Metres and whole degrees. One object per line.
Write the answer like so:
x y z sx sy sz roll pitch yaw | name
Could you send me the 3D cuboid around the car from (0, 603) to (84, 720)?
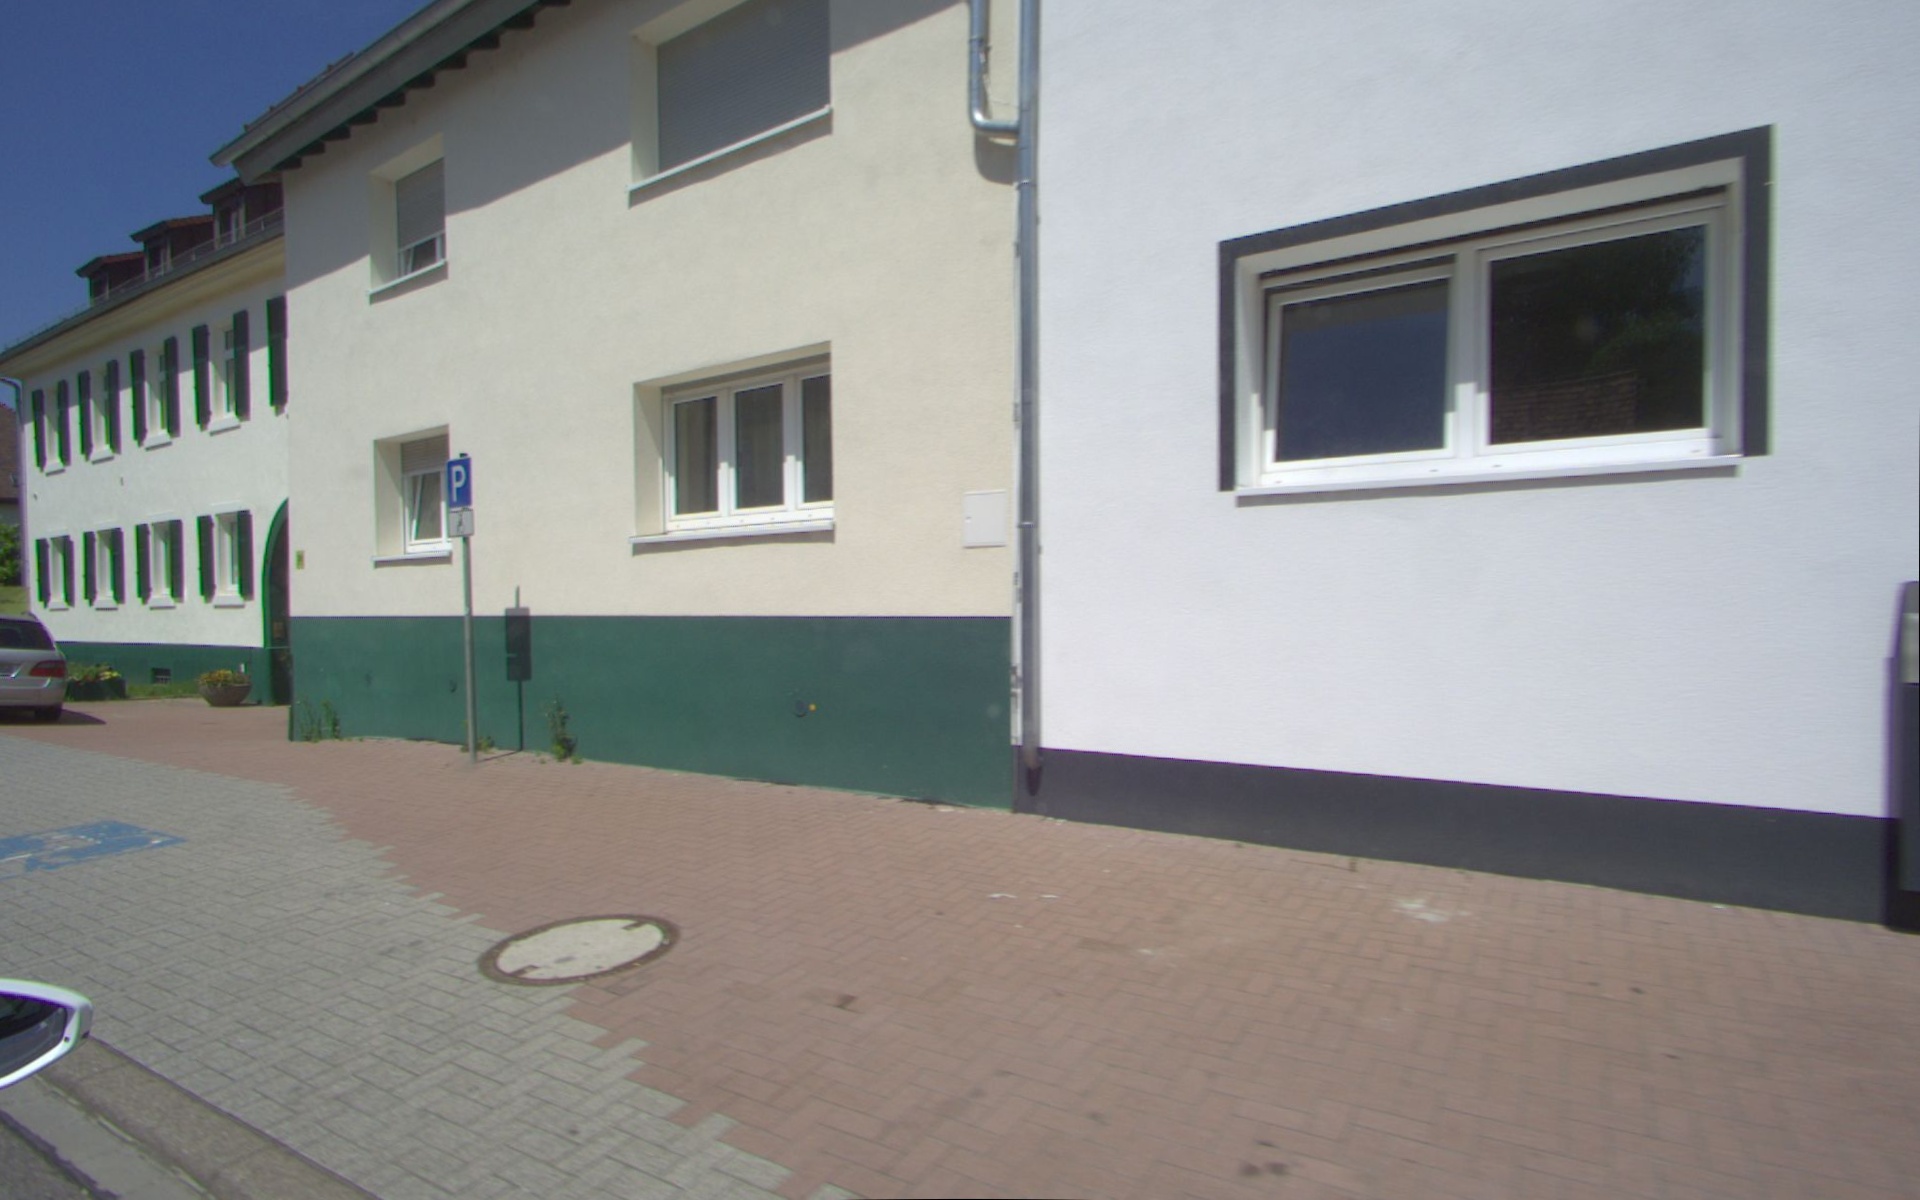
-14.102 0.783 14.217 4.828 1.480 1.808 0 -4 41 | car
